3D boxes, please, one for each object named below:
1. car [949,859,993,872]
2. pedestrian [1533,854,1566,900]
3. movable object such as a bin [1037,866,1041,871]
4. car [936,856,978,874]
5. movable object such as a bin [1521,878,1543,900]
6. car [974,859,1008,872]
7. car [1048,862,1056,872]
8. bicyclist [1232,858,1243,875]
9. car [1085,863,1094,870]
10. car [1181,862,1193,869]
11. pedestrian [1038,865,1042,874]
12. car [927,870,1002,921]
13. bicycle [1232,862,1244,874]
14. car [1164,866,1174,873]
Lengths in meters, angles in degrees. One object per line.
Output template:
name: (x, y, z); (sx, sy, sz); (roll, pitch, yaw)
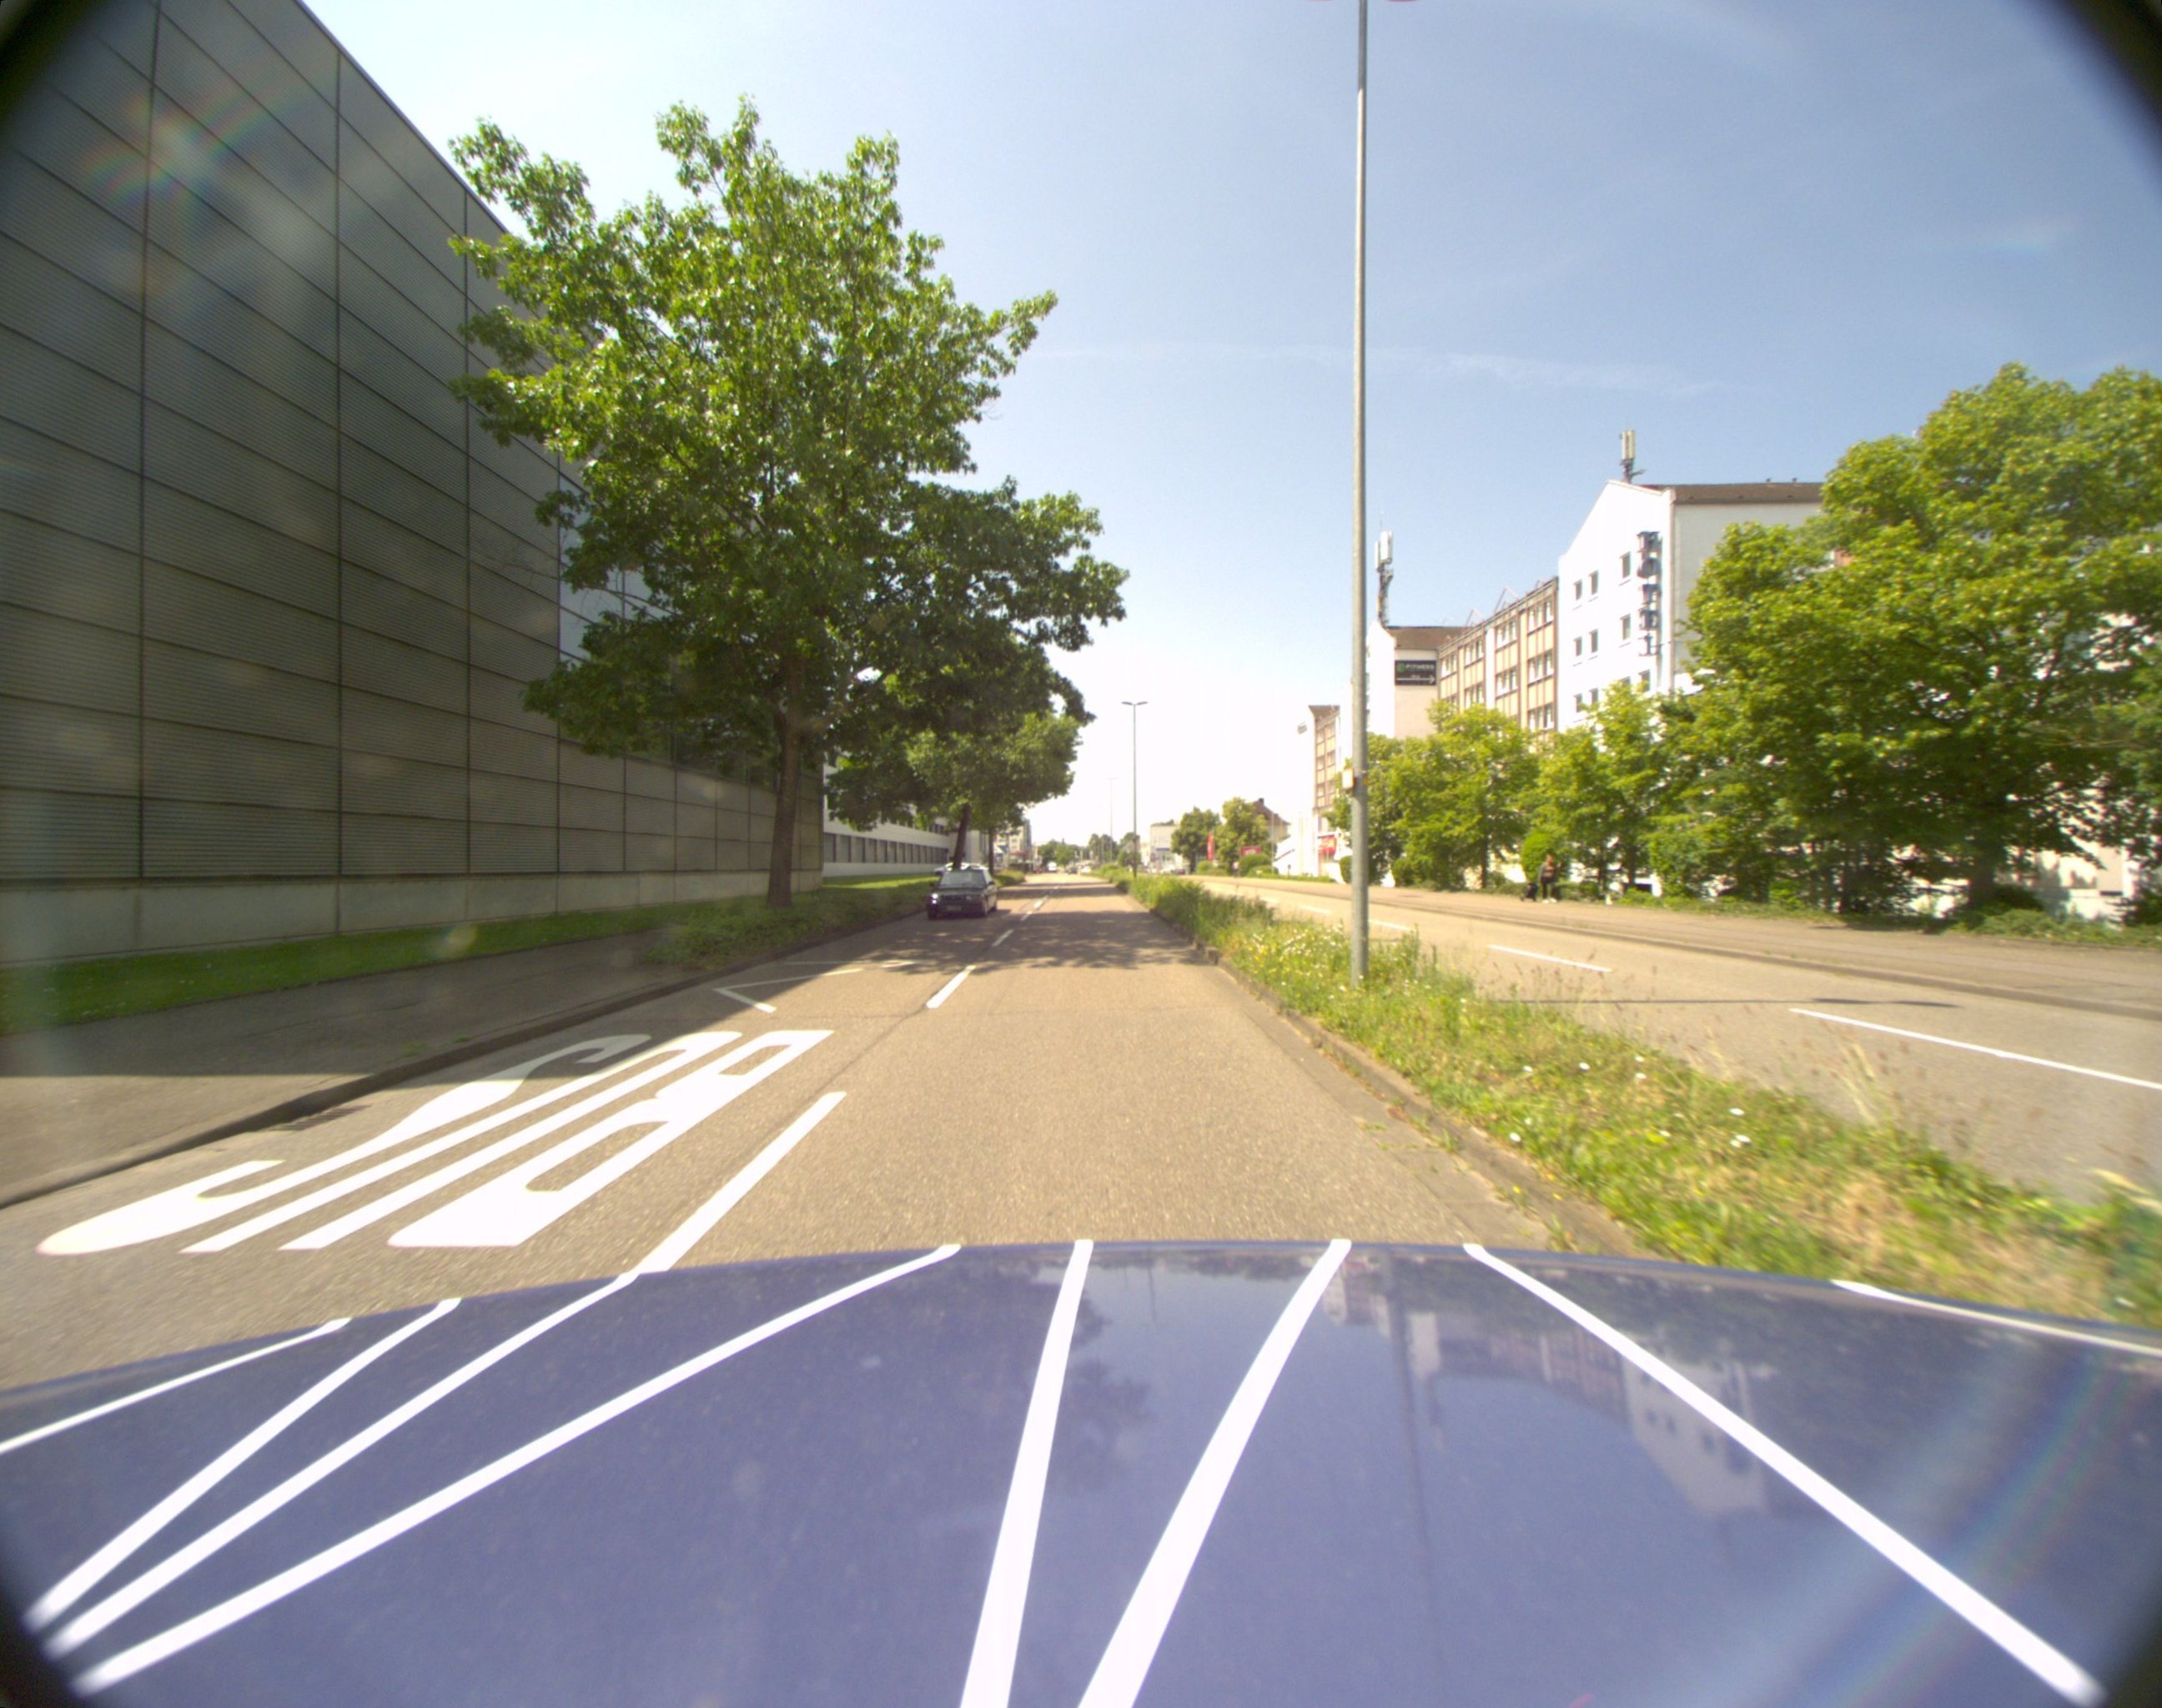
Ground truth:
car: (-12.031, 1.235, 83.019); (4.627, 1.382, 1.999); (1, 0, -5)
pedestrian: (15.673, 0.764, 25.428); (0.634, 1.536, 0.727); (0, 0, 0)
movable object such as a bin: (-8.421, 2.872, 152.354); (0.552, 0.914, 0.653); (3, 0, 1)
car: (-12.118, 1.088, 74.286); (3.823, 1.582, 1.732); (2, 0, -4)
movable object such as a bin: (15.297, 1.185, 25.789); (0.429, 0.701, 0.652); (0, 0, 9)
car: (-11.665, 1.462, 99.088); (4.271, 1.679, 1.999); (1, 0, -4)
car: (-8.548, 3.832, 224.782); (2.183, 2.757, 7.278); (2, -1, 0)
bicyclist: (14.398, 1.150, 69.753); (0.719, 1.507, 1.026); (0, 0, -3)
car: (1.707, 2.536, 151.195); (1.693, 1.425, 3.712); (0, -1, 1)
car: (20.387, 2.205, 146.123); (1.737, 1.343, 4.000); (0, -1, -2)
pedestrian: (-8.027, 3.061, 148.307); (0.787, 1.835, 0.936); (0, 0, 3)
car: (-3.375, 1.174, 22.590); (1.632, 1.331, 3.757); (-1, -1, 0)
bicycle: (14.410, 1.303, 69.777); (0.552, 1.067, 2.062); (-1, 0, -3)
car: (16.991, 3.019, 147.091); (1.780, 1.402, 4.761); (0, -1, 4)
